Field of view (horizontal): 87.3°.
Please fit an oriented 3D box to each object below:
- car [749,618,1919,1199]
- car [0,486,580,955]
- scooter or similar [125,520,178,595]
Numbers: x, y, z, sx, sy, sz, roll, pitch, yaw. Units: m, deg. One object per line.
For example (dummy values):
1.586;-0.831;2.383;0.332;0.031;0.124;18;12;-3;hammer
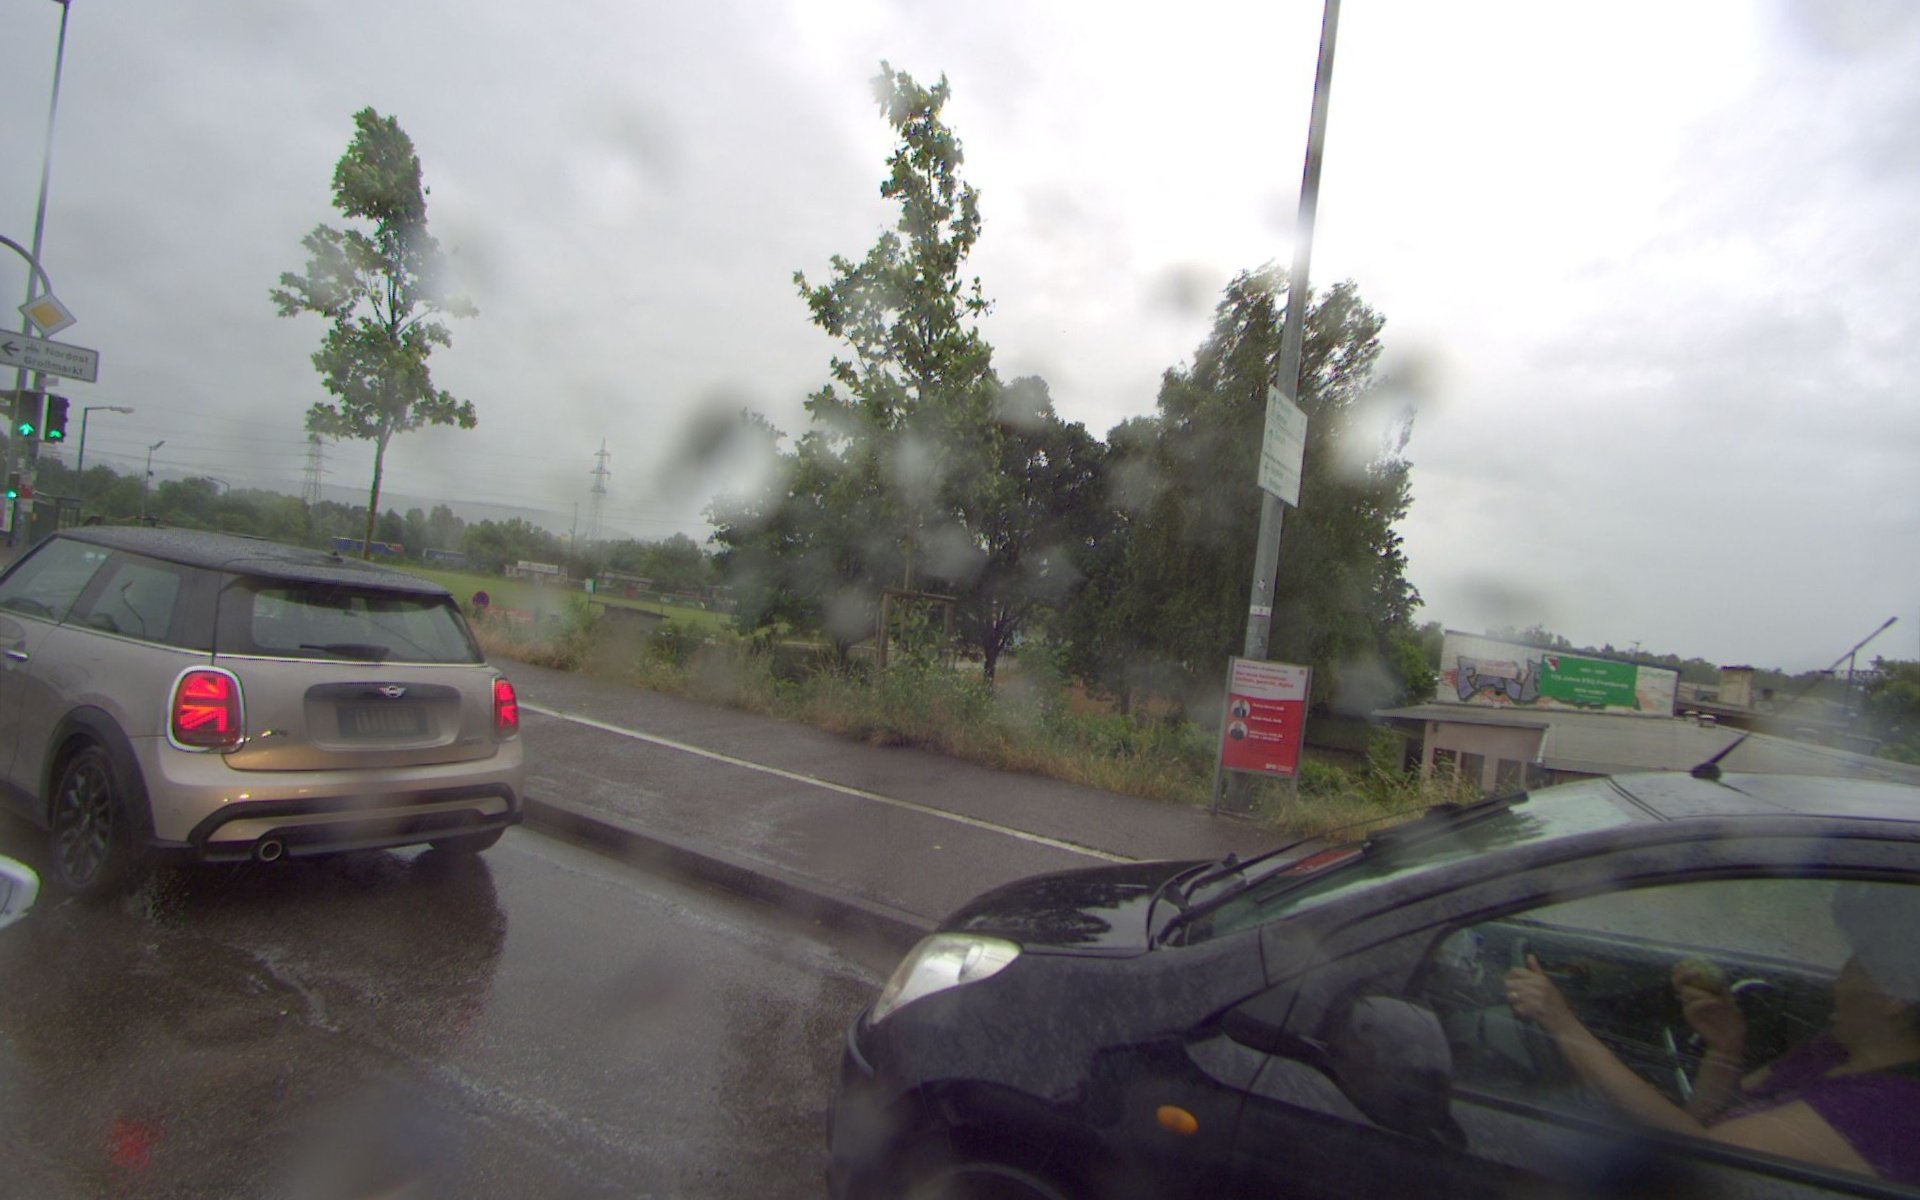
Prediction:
1.557;1.026;1.812;3.563;1.445;1.632;7;-1;31;car
-3.882;0.342;5.039;3.563;1.525;1.717;7;-2;31;car
-13.707;-0.733;17.050;1.167;1.171;0.246;6;-1;33;scooter or similar
